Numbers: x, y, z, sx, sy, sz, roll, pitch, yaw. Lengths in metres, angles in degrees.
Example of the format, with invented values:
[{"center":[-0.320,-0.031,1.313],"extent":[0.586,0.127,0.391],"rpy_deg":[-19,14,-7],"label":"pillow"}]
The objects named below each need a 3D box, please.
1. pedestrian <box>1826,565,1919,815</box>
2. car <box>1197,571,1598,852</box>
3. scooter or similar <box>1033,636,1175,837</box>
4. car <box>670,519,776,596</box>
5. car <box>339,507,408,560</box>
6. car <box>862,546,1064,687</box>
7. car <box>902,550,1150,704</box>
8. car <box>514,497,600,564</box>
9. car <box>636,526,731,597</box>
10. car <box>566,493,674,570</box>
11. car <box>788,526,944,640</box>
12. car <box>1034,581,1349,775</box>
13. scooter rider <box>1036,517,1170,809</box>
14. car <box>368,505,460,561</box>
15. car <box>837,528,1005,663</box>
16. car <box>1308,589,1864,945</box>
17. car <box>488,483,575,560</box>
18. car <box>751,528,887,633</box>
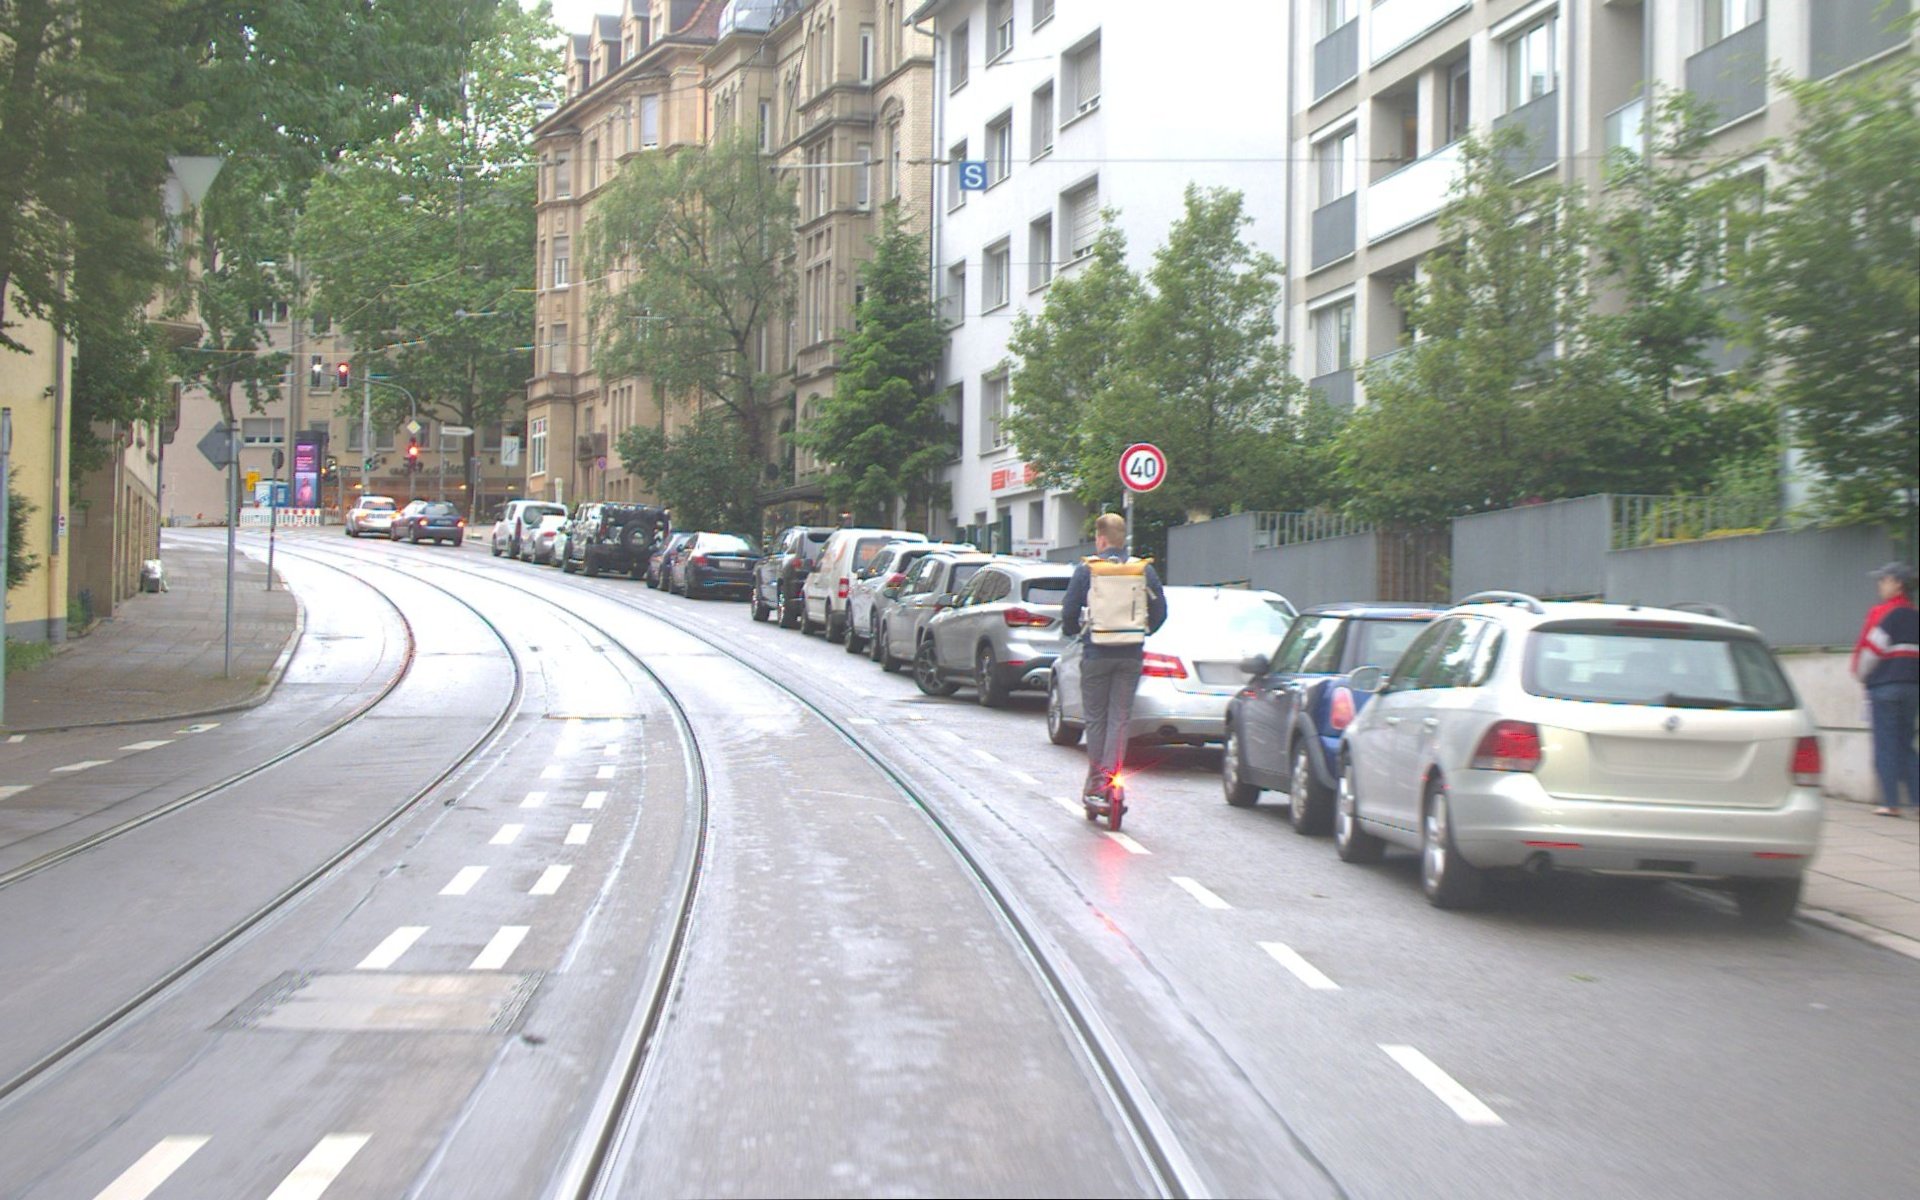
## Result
[{"center":[5.832,0.555,21.640],"extent":[0.569,1.537,0.651],"rpy_deg":[-1,1,-1],"label":"pedestrian"},{"center":[2.688,0.640,21.950],"extent":[1.701,1.507,3.715],"rpy_deg":[3,1,-5],"label":"car"},{"center":[0.850,0.797,20.761],"extent":[0.513,1.046,2.009],"rpy_deg":[4,1,-6],"label":"scooter or similar"},{"center":[-5.187,-0.947,74.725],"extent":[1.766,1.512,4.141],"rpy_deg":[2,1,-11],"label":"car"},{"center":[-21.149,-2.406,123.845],"extent":[1.856,1.728,4.141],"rpy_deg":[2,1,-18],"label":"car"},{"center":[-0.017,0.182,44.799],"extent":[1.766,1.609,4.250],"rpy_deg":[2,1,-11],"label":"car"},{"center":[0.679,0.263,38.759],"extent":[1.766,1.610,4.249],"rpy_deg":[1,1,-13],"label":"car"},{"center":[-11.722,-2.037,99.697],"extent":[2.027,1.818,4.141],"rpy_deg":[2,1,-12],"label":"car"},{"center":[-6.418,-0.912,79.618],"extent":[1.649,1.531,3.890],"rpy_deg":[-1,2,-12],"label":"car"},{"center":[-8.814,-1.789,88.783],"extent":[2.027,1.818,4.369],"rpy_deg":[2,1,-15],"label":"car"},{"center":[-1.583,-0.305,56.439],"extent":[1.766,1.678,4.250],"rpy_deg":[2,1,-12],"label":"car"},{"center":[1.857,0.598,29.095],"extent":[1.761,1.430,4.640],"rpy_deg":[1,1,-7],"label":"car"},{"center":[0.854,0.363,20.724],"extent":[0.623,1.700,0.844],"rpy_deg":[2,1,-6],"label":"scooter rider"},{"center":[-18.777,-2.321,118.106],"extent":[2.027,1.728,4.141],"rpy_deg":[2,1,-25],"label":"car"},{"center":[-0.619,-0.101,50.309],"extent":[1.766,1.781,4.249],"rpy_deg":[3,1,-9],"label":"car"},{"center":[2.974,0.727,17.310],"extent":[1.661,1.466,4.508],"rpy_deg":[3,0,-4],"label":"car"},{"center":[-13.062,-2.398,104.621],"extent":[2.027,2.210,4.141],"rpy_deg":[2,1,-14],"label":"car"},{"center":[-2.551,-0.380,61.199],"extent":[1.766,1.678,4.250],"rpy_deg":[2,1,-11],"label":"car"}]
